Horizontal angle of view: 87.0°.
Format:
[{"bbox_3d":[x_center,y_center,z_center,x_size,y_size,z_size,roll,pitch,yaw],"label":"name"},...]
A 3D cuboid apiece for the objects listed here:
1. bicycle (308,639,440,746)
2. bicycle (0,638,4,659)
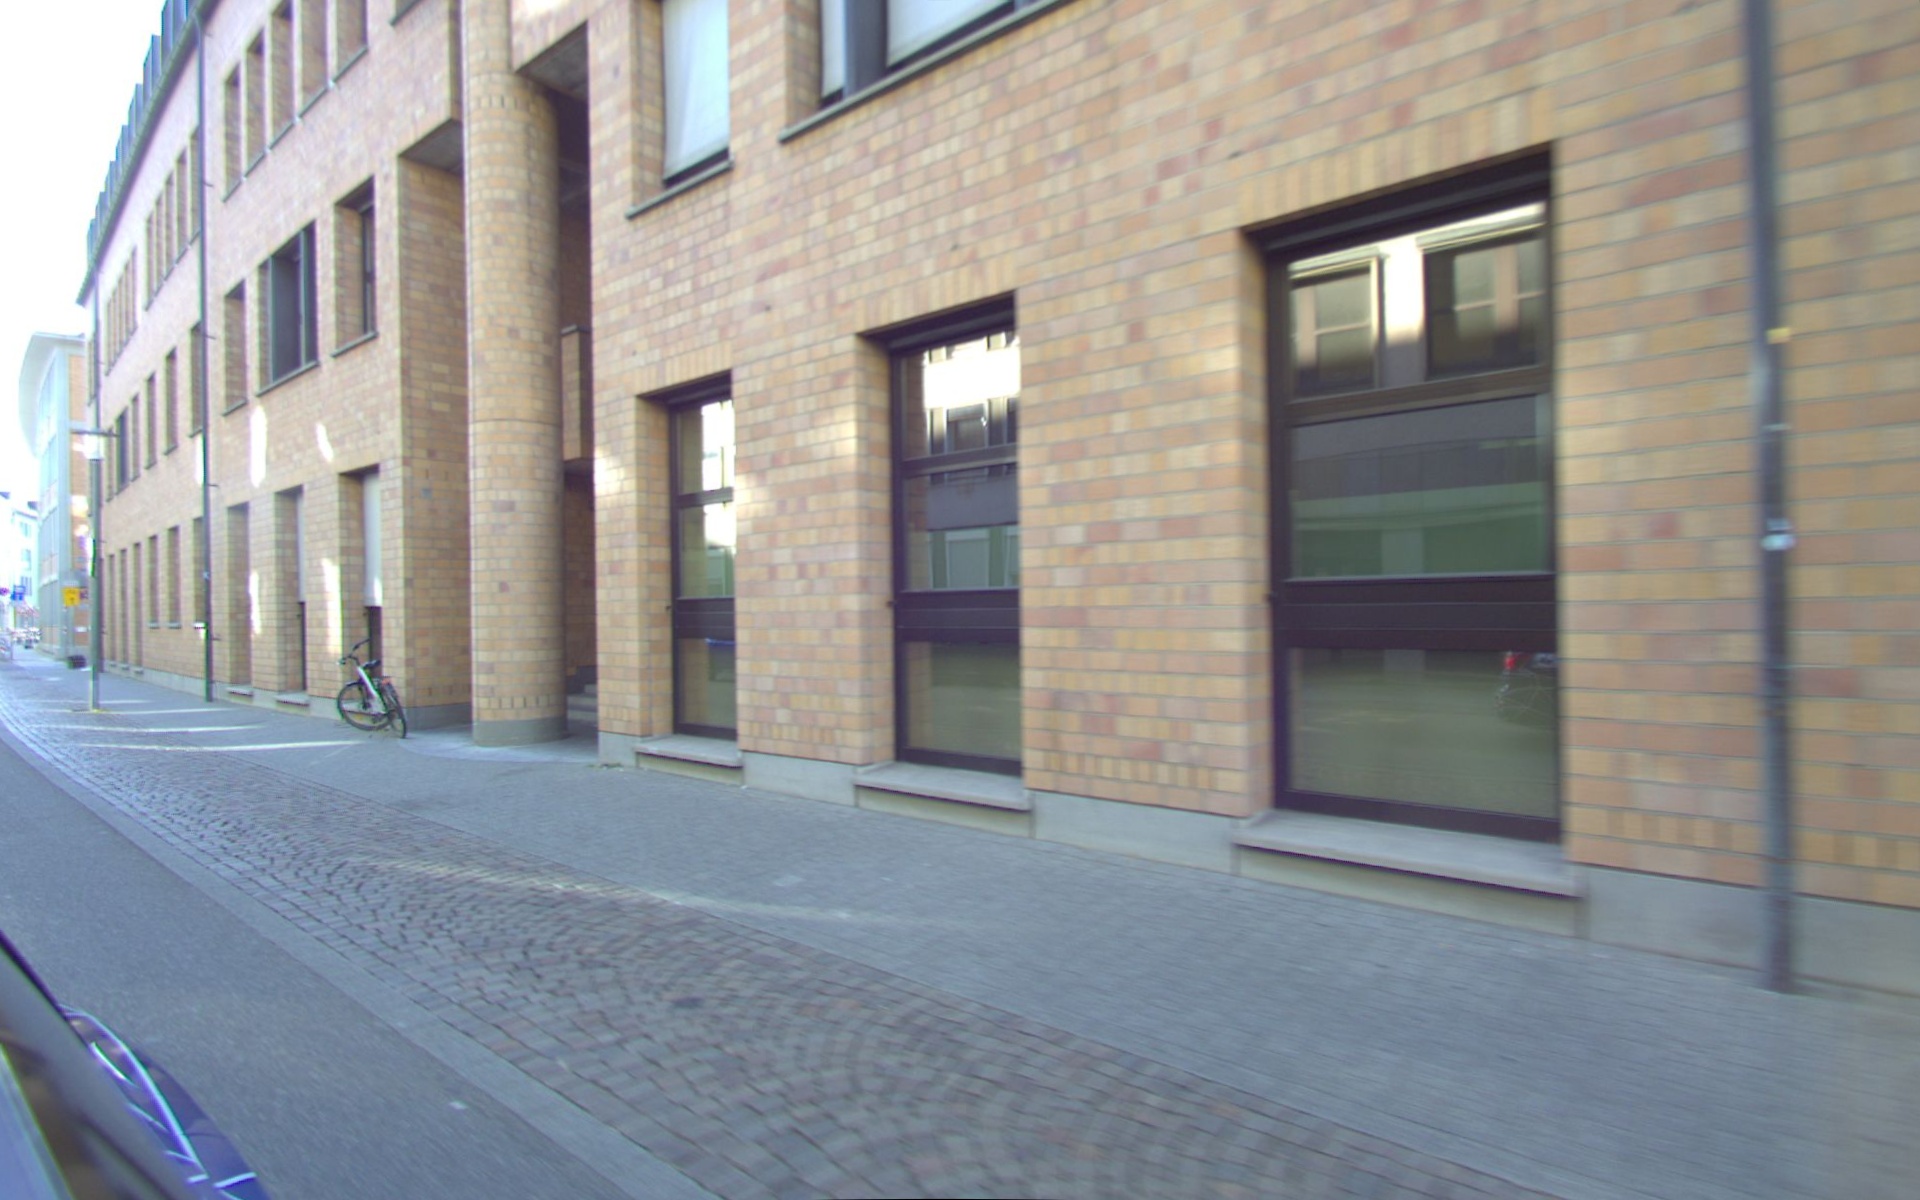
[{"bbox_3d":[-7.142,1.090,12.302,1.799,1.171,0.626,-2,2,35],"label":"bicycle"},{"bbox_3d":[-49.623,2.478,51.881,1.820,1.062,0.620,-2,-1,39],"label":"bicycle"}]
